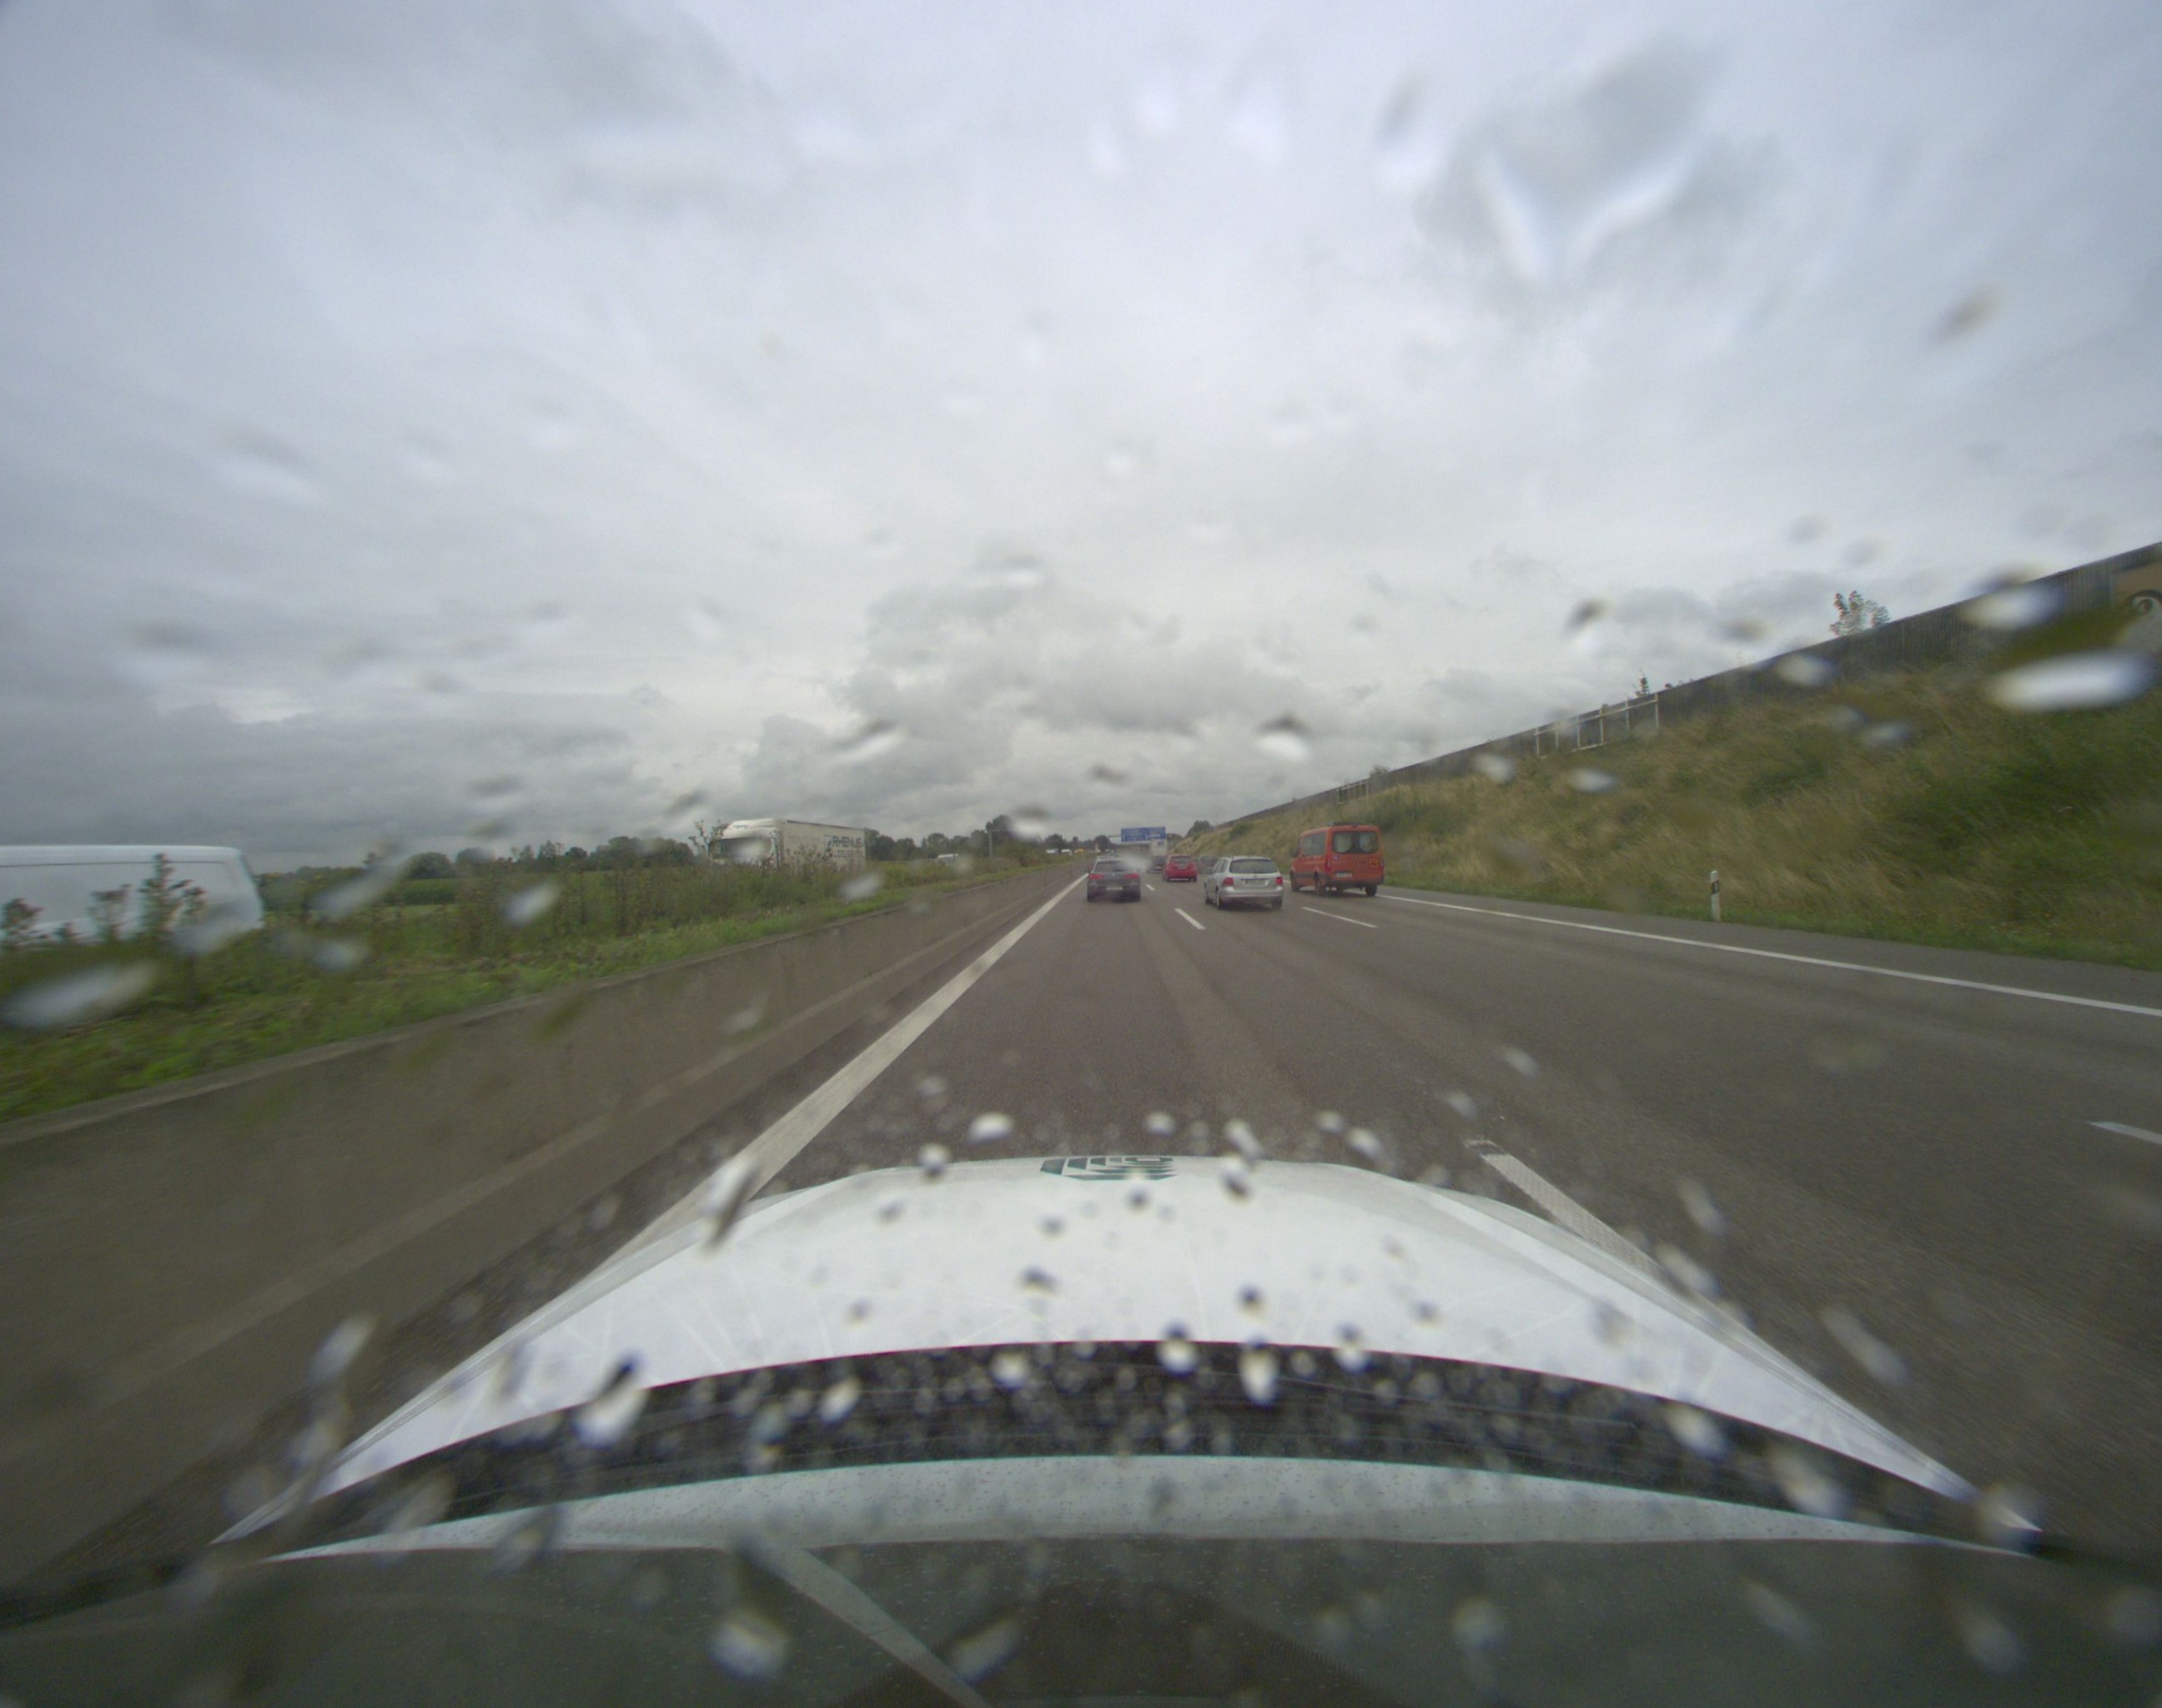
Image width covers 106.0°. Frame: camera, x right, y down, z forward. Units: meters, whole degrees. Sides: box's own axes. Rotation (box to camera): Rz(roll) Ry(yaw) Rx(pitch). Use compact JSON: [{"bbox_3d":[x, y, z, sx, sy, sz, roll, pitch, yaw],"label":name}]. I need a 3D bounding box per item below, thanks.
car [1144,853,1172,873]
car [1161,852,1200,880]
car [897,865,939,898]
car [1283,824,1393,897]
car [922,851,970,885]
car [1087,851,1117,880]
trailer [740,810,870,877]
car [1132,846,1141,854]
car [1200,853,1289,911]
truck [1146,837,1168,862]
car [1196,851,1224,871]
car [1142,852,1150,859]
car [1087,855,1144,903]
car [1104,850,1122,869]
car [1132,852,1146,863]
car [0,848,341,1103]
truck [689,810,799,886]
[{"bbox_3d":[6.151,0.725,65.828,1.914,1.522,4.624,-2,0,2],"label":"car"},{"bbox_3d":[5.554,0.621,45.907,1.883,1.446,4.689,-2,0,3],"label":"car"},{"bbox_3d":[-10.996,1.845,55.192,1.785,2.013,4.002,-3,0,2],"label":"car"},{"bbox_3d":[9.102,0.197,29.462,2.078,2.315,6.182,-2,0,1],"label":"car"},{"bbox_3d":[-8.001,0.780,48.795,1.812,1.838,4.803,-3,0,2],"label":"car"},{"bbox_3d":[1.400,0.707,52.111,1.747,1.750,4.003,-1,0,3],"label":"car"},{"bbox_3d":[-16.070,-0.510,48.962,2.903,3.428,13.247,-1,0,2],"label":"trailer"},{"bbox_3d":[13.831,-0.966,203.753,1.987,2.013,4.001,-2,0,1],"label":"car"},{"bbox_3d":[4.544,0.720,23.223,1.735,1.425,4.519,-2,0,2],"label":"car"},{"bbox_3d":[13.938,-0.748,150.260,3.270,4.295,19.047,-1,0,3],"label":"truck"},{"bbox_3d":[9.624,0.518,60.939,1.695,1.401,3.879,-1,0,4],"label":"car"},{"bbox_3d":[17.736,0.343,222.103,1.986,1.860,4.392,-2,0,1],"label":"car"},{"bbox_3d":[1.161,0.789,27.360,1.761,1.467,4.002,-1,0,3],"label":"car"},{"bbox_3d":[3.224,0.515,82.214,1.698,1.796,3.857,-3,0,2],"label":"car"},{"bbox_3d":[8.862,0.555,124.103,1.839,1.687,4.000,-1,0,1],"label":"car"},{"bbox_3d":[-9.541,0.978,6.788,1.986,2.013,5.071,-1,0,2],"label":"car"},{"bbox_3d":[-16.364,-0.256,40.008,2.959,3.428,5.629,-1,0,1],"label":"truck"}]
